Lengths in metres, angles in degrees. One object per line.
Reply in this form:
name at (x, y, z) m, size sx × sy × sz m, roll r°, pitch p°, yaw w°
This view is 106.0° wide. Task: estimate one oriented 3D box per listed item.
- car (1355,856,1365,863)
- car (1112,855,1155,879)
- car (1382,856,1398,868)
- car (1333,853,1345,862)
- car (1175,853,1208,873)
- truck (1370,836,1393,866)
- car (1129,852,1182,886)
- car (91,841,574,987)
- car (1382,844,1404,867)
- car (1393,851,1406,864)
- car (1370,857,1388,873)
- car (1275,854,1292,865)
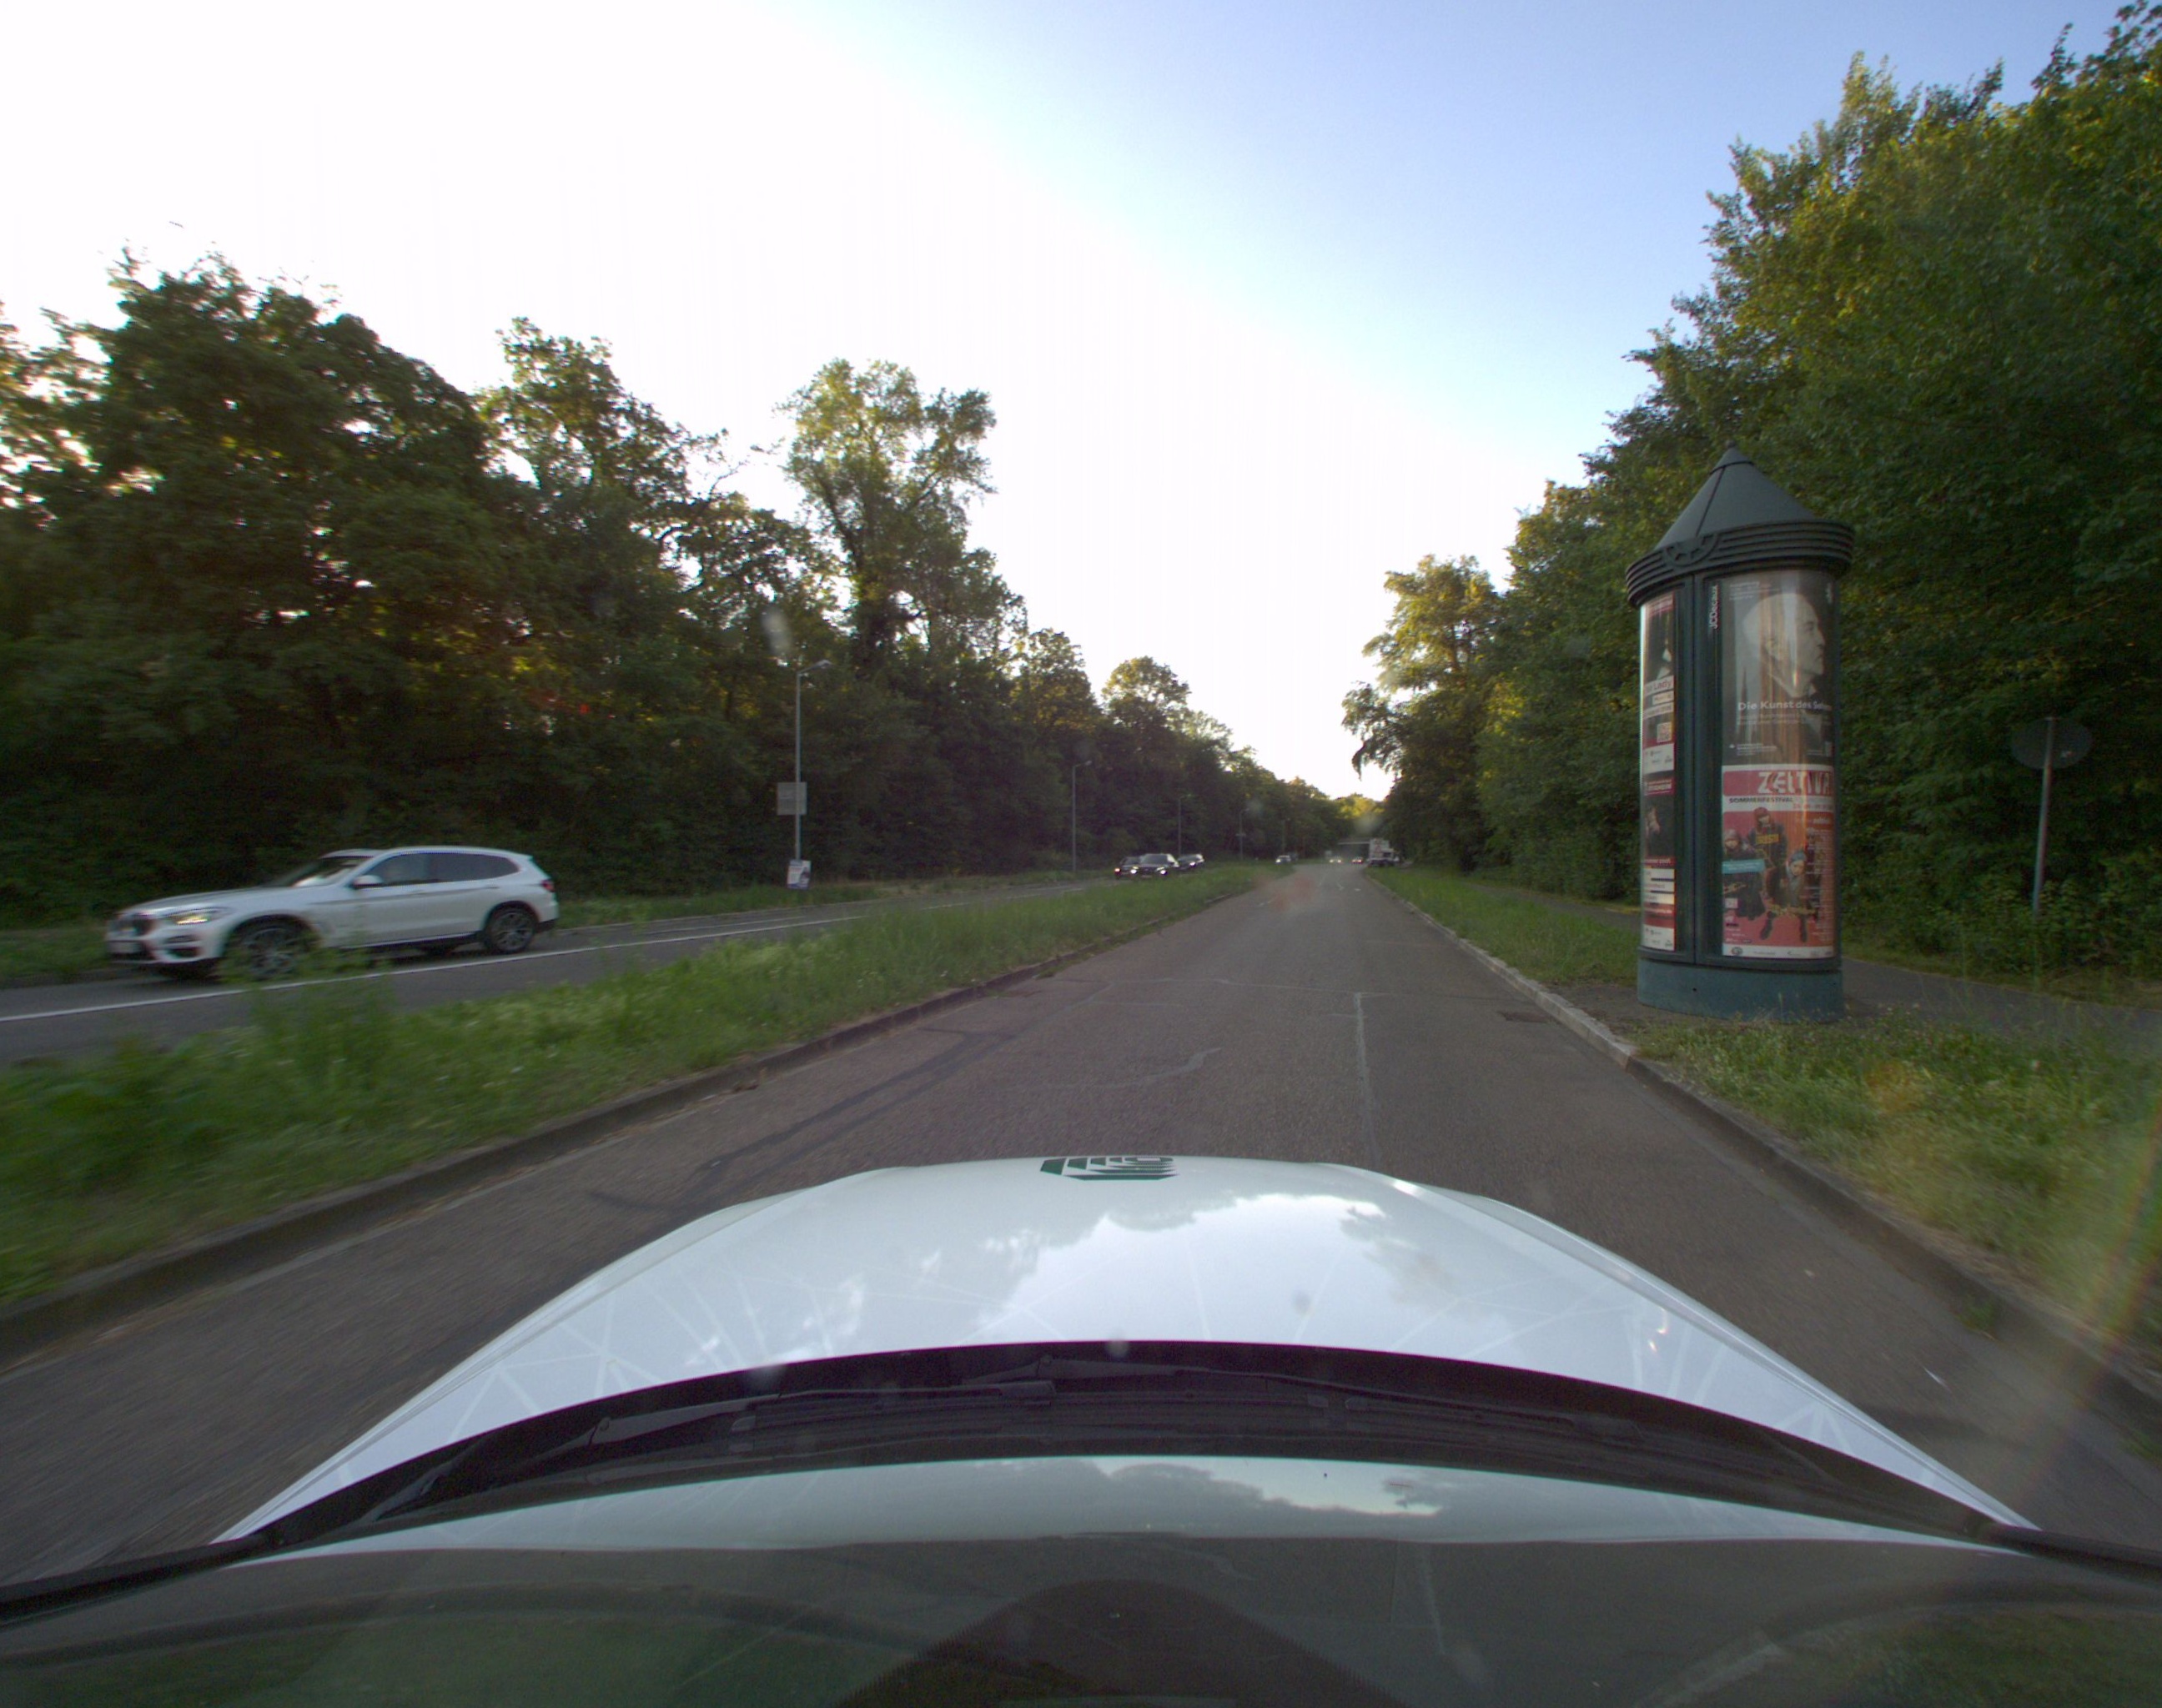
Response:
car at (57.963, 1.096, 169.306) m, size 1.701 × 1.446 × 4.195 m, roll 0°, pitch 0°, yaw 22°
car at (3.488, 0.827, 53.591) m, size 1.808 × 1.480 × 4.252 m, roll -1°, pitch -1°, yaw 17°
car at (37.692, 0.932, 99.311) m, size 1.684 × 1.406 × 4.095 m, roll 0°, pitch 0°, yaw 18°
car at (46.233, 0.561, 145.920) m, size 1.820 × 1.507 × 3.957 m, roll 0°, pitch -2°, yaw 21°
car at (9.358, 0.764, 68.681) m, size 1.978 × 1.627 × 4.672 m, roll -1°, pitch -1°, yaw 17°
truck at (42.011, -0.369, 113.650) m, size 2.635 × 4.027 × 9.773 m, roll 1°, pitch 0°, yaw 22°
car at (3.952, 0.752, 42.364) m, size 1.799 × 1.627 × 4.471 m, roll -1°, pitch -1°, yaw 17°
car at (-10.008, 0.700, 11.487) m, size 1.806 × 1.613 × 4.664 m, roll -2°, pitch -1°, yaw 20°
car at (40.420, 0.164, 105.475) m, size 2.389 × 2.858 × 5.960 m, roll 1°, pitch 0°, yaw 19°
car at (62.331, 0.712, 159.496) m, size 1.975 × 2.410 × 5.856 m, roll -1°, pitch -2°, yaw 24°
car at (29.713, 1.071, 81.155) m, size 1.650 × 1.405 × 3.962 m, roll 3°, pitch 1°, yaw 20°
car at (28.626, 0.730, 114.971) m, size 1.977 × 1.458 × 3.829 m, roll 0°, pitch -2°, yaw 19°
